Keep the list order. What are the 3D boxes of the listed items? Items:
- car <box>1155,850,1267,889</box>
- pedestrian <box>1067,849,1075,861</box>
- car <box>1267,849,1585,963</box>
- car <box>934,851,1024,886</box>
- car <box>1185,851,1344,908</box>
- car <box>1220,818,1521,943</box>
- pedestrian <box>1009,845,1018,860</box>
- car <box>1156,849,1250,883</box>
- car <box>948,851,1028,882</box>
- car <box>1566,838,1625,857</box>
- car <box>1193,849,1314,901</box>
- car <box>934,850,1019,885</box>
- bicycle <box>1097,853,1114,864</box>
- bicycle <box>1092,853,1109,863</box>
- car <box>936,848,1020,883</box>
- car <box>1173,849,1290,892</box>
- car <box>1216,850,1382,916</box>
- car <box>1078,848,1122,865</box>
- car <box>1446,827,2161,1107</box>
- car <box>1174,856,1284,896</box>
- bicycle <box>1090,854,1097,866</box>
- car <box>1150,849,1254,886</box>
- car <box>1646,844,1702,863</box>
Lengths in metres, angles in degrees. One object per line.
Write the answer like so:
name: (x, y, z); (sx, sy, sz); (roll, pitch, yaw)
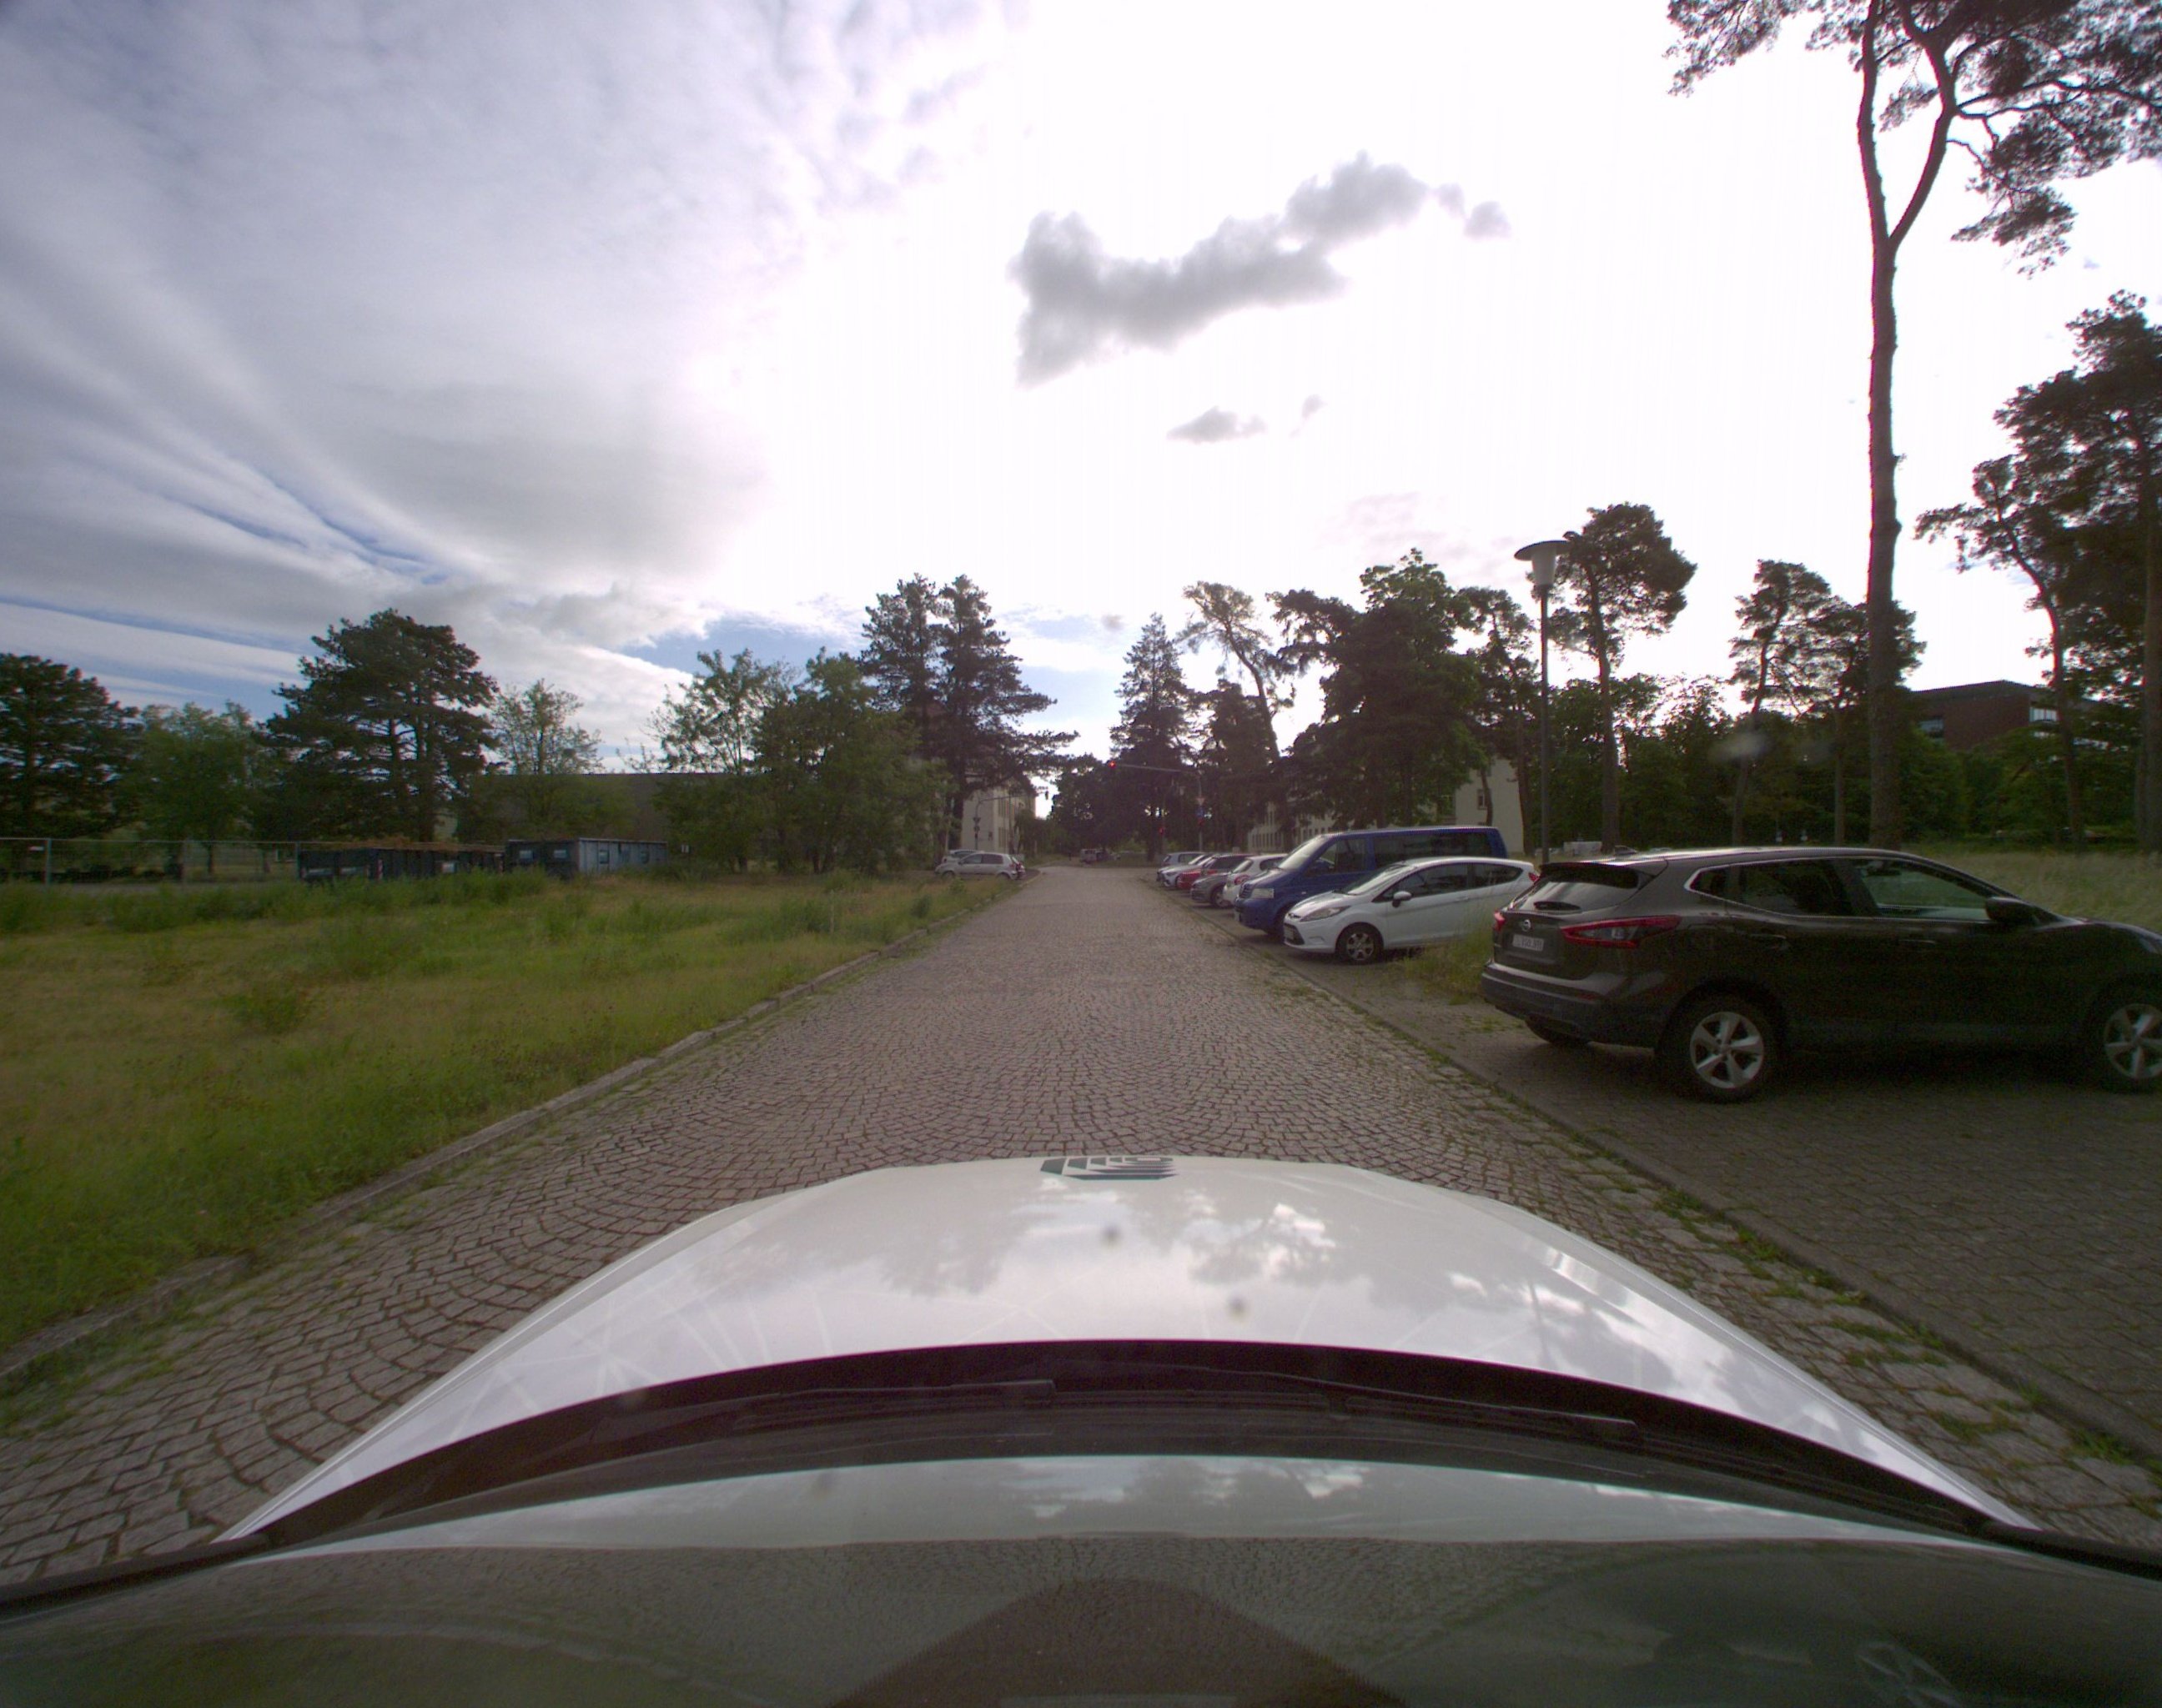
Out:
car: (5.283, 0.616, 33.301); (4.181, 1.437, 1.751); (-2, 0, -7)
pedestrian: (-1.736, 0.146, 135.430); (1.237, 1.959, 1.119); (1, 0, -5)
car: (5.083, 0.725, 12.345); (4.088, 1.478, 1.720); (-2, 0, -3)
car: (-4.980, 0.675, 40.263); (4.292, 1.554, 1.808); (-2, 0, -6)
car: (5.111, 0.684, 23.103); (4.116, 1.447, 1.766); (-2, 0, 0)
car: (5.128, 0.443, 14.890); (4.782, 2.004, 1.965); (-2, 0, -2)
pedestrian: (-8.546, -0.169, 103.212); (1.071, 1.959, 1.121); (1, 0, 0)
car: (5.761, 0.552, 38.622); (4.128, 1.463, 1.631); (-2, 0, -5)
car: (-5.170, 0.669, 45.522); (4.292, 1.554, 1.808); (-2, 0, -6)
car: (57.963, -0.718, 91.817); (5.281, 2.019, 2.106); (1, 0, 1)
car: (5.441, 0.643, 25.971); (3.494, 1.487, 1.743); (-2, 0, 0)
car: (-4.776, 0.616, 37.667); (3.711, 1.481, 1.671); (1, 0, -3)
bicycle: (2.714, 0.500, 90.730); (1.878, 1.171, 0.664); (1, 0, -5)
bicycle: (2.245, 0.494, 94.226); (1.878, 1.171, 0.664); (1, 0, -5)
car: (-5.385, 0.595, 43.067); (4.291, 1.732, 1.650); (-2, 0, -5)
car: (5.669, 0.605, 30.940); (4.093, 1.476, 1.684); (-2, 0, -2)
car: (5.318, 0.682, 20.199); (3.641, 1.478, 1.765); (-2, 0, 0)
car: (2.433, 0.266, 105.534); (5.380, 2.101, 2.170); (-1, 0, -12)
car: (5.221, 0.669, 5.989); (4.192, 1.595, 1.952); (-2, 0, -2)
car: (5.147, 0.754, 28.596); (3.573, 1.223, 1.629); (-2, 0, 1)
bicycle: (1.309, 0.627, 86.093); (0.660, 1.171, 1.888); (1, 0, 1)
car: (5.331, 0.584, 36.068); (4.229, 1.479, 1.703); (-2, 0, -11)
car: (59.016, -0.008, 81.086); (4.117, 1.804, 1.901); (1, 0, 2)
